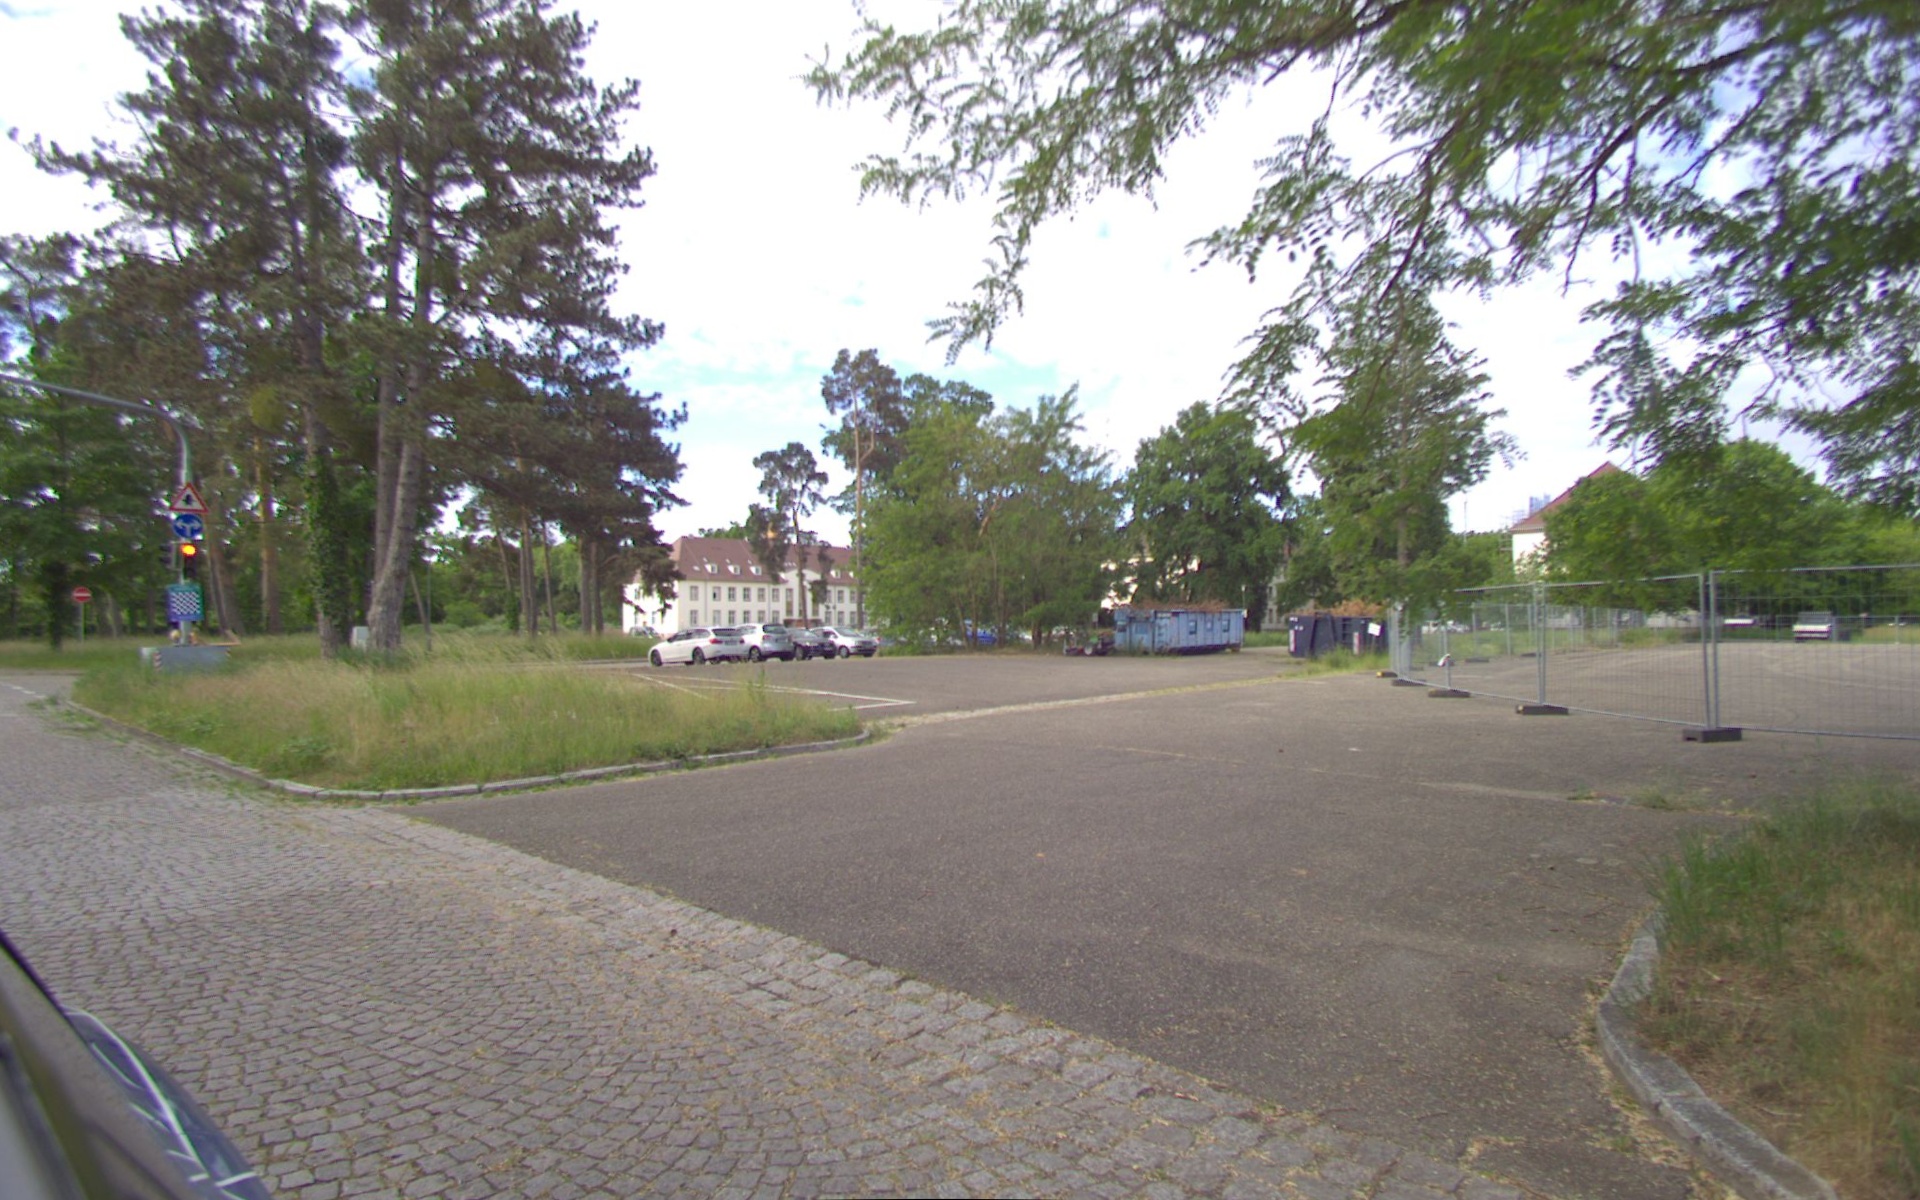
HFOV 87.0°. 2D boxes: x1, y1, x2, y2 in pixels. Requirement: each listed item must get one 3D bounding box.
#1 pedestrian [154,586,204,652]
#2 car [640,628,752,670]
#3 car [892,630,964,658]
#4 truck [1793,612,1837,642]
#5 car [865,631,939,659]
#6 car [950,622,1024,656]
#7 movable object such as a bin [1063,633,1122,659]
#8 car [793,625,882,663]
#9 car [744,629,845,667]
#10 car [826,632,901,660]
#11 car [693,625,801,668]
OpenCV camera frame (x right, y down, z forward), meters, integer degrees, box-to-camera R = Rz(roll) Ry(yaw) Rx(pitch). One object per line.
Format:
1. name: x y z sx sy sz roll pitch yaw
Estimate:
1. pedestrian: -18.472 0.448 23.964 0.869 1.529 0.824 1 -2 -34
2. car: -10.244 1.899 39.062 4.651 1.461 1.817 -4 -4 40
3. car: -2.105 2.867 65.626 4.580 1.586 1.817 -4 -4 40
4. truck: 65.679 2.052 77.690 2.373 2.215 6.465 -2 -2 41
5. car: -3.624 2.803 62.987 4.580 1.571 1.817 -4 -4 40
6. car: 1.810 2.707 69.206 4.979 2.113 1.816 -5 -4 41
7. movable object such as a bin: 4.892 1.710 37.465 1.931 0.940 1.029 -2 -3 35
8. car: -5.531 1.981 45.453 4.113 1.533 1.713 -5 -4 42
9. car: -7.121 2.068 43.232 4.583 1.480 1.815 -4 -4 42
10. car: -5.862 2.795 61.358 4.580 1.533 1.817 -4 -4 40
11. car: -8.695 1.916 41.133 4.580 1.590 1.817 -4 -4 40
